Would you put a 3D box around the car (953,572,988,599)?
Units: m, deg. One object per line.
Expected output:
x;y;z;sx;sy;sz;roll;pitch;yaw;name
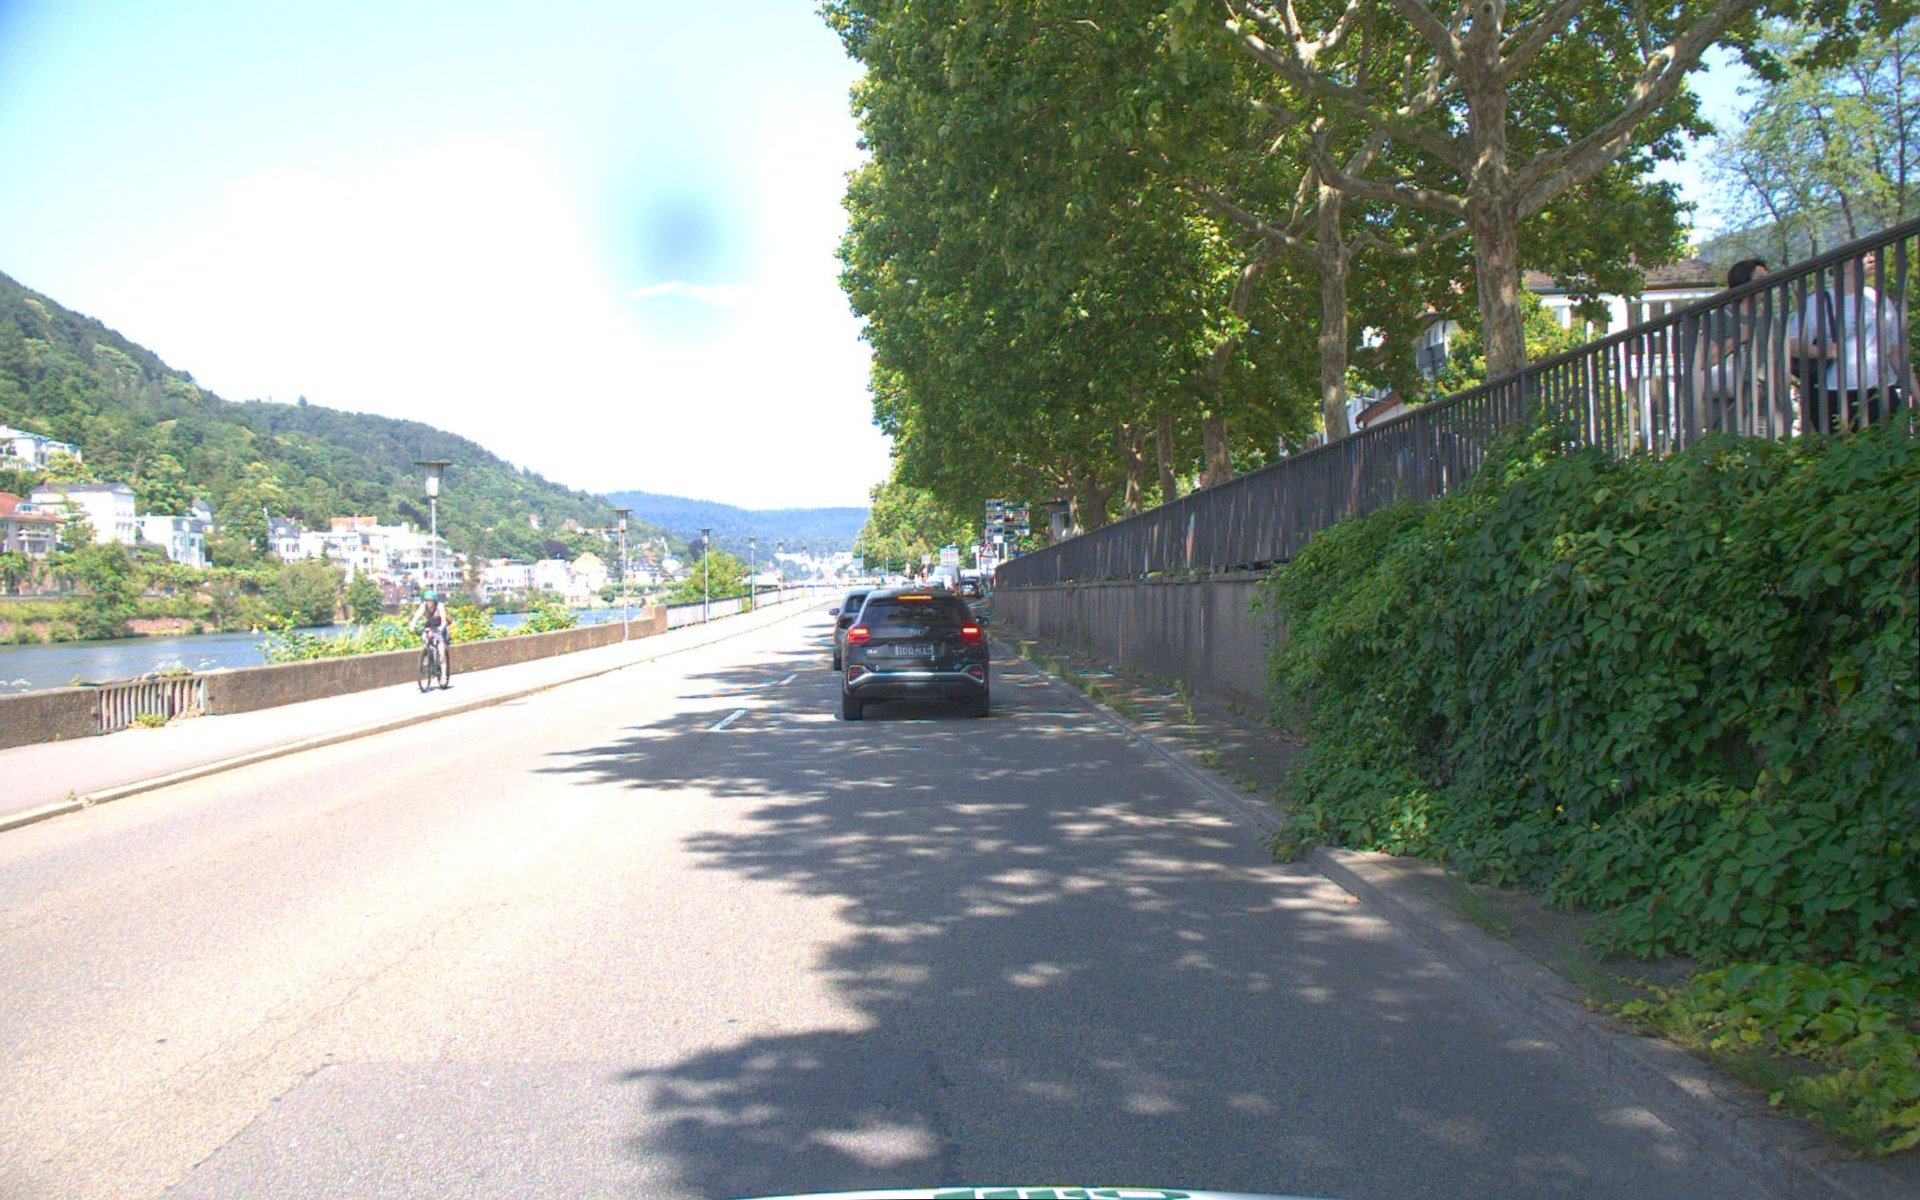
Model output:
0.848;-1.203;139.025;2.609;2.048;5.822;-4;1;-2;car

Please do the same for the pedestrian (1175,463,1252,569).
4.083;-1.342;26.687;0.918;1.606;1.027;-4;0;-4;pedestrian

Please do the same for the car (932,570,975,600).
-0.530;-1.185;129.315;3.037;2.048;5.822;-4;1;-2;car

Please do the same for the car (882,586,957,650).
-1.051;0.424;42.030;1.792;1.512;3.998;-1;0;-2;car

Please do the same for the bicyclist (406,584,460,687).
-9.013;0.593;28.309;0.624;1.703;0.870;-2;0;-2;bicyclist

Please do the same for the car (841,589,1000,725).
-0.530;0.633;20.795;1.792;1.512;3.998;-1;0;-2;car

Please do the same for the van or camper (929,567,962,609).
-1.013;-0.855;118.720;2.263;2.897;4.245;-2;0;0;van or camper

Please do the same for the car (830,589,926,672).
-1.622;0.562;33.207;1.792;1.537;3.998;-1;0;-2;car

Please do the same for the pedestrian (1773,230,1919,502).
5.126;-1.290;9.267;0.631;1.389;0.794;-4;0;-4;pedestrian

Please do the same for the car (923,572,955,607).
-1.424;-0.689;109.591;1.954;2.207;3.998;-2;0;-2;car

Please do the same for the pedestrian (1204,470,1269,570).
4.053;-1.160;24.283;0.667;1.389;0.989;-4;0;-2;pedestrian

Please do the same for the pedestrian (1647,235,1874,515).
4.381;-1.207;9.104;0.738;1.389;0.813;-4;0;-4;pedestrian

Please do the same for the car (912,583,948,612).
-1.615;-0.134;87.024;1.792;1.469;3.998;-1;0;-2;car

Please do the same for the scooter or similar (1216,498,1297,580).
4.166;-0.845;23.300;0.838;1.044;1.107;-4;0;-3;scooter or similar

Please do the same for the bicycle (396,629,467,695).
-9.052;1.038;28.389;0.620;1.029;1.985;-2;0;-2;bicycle
